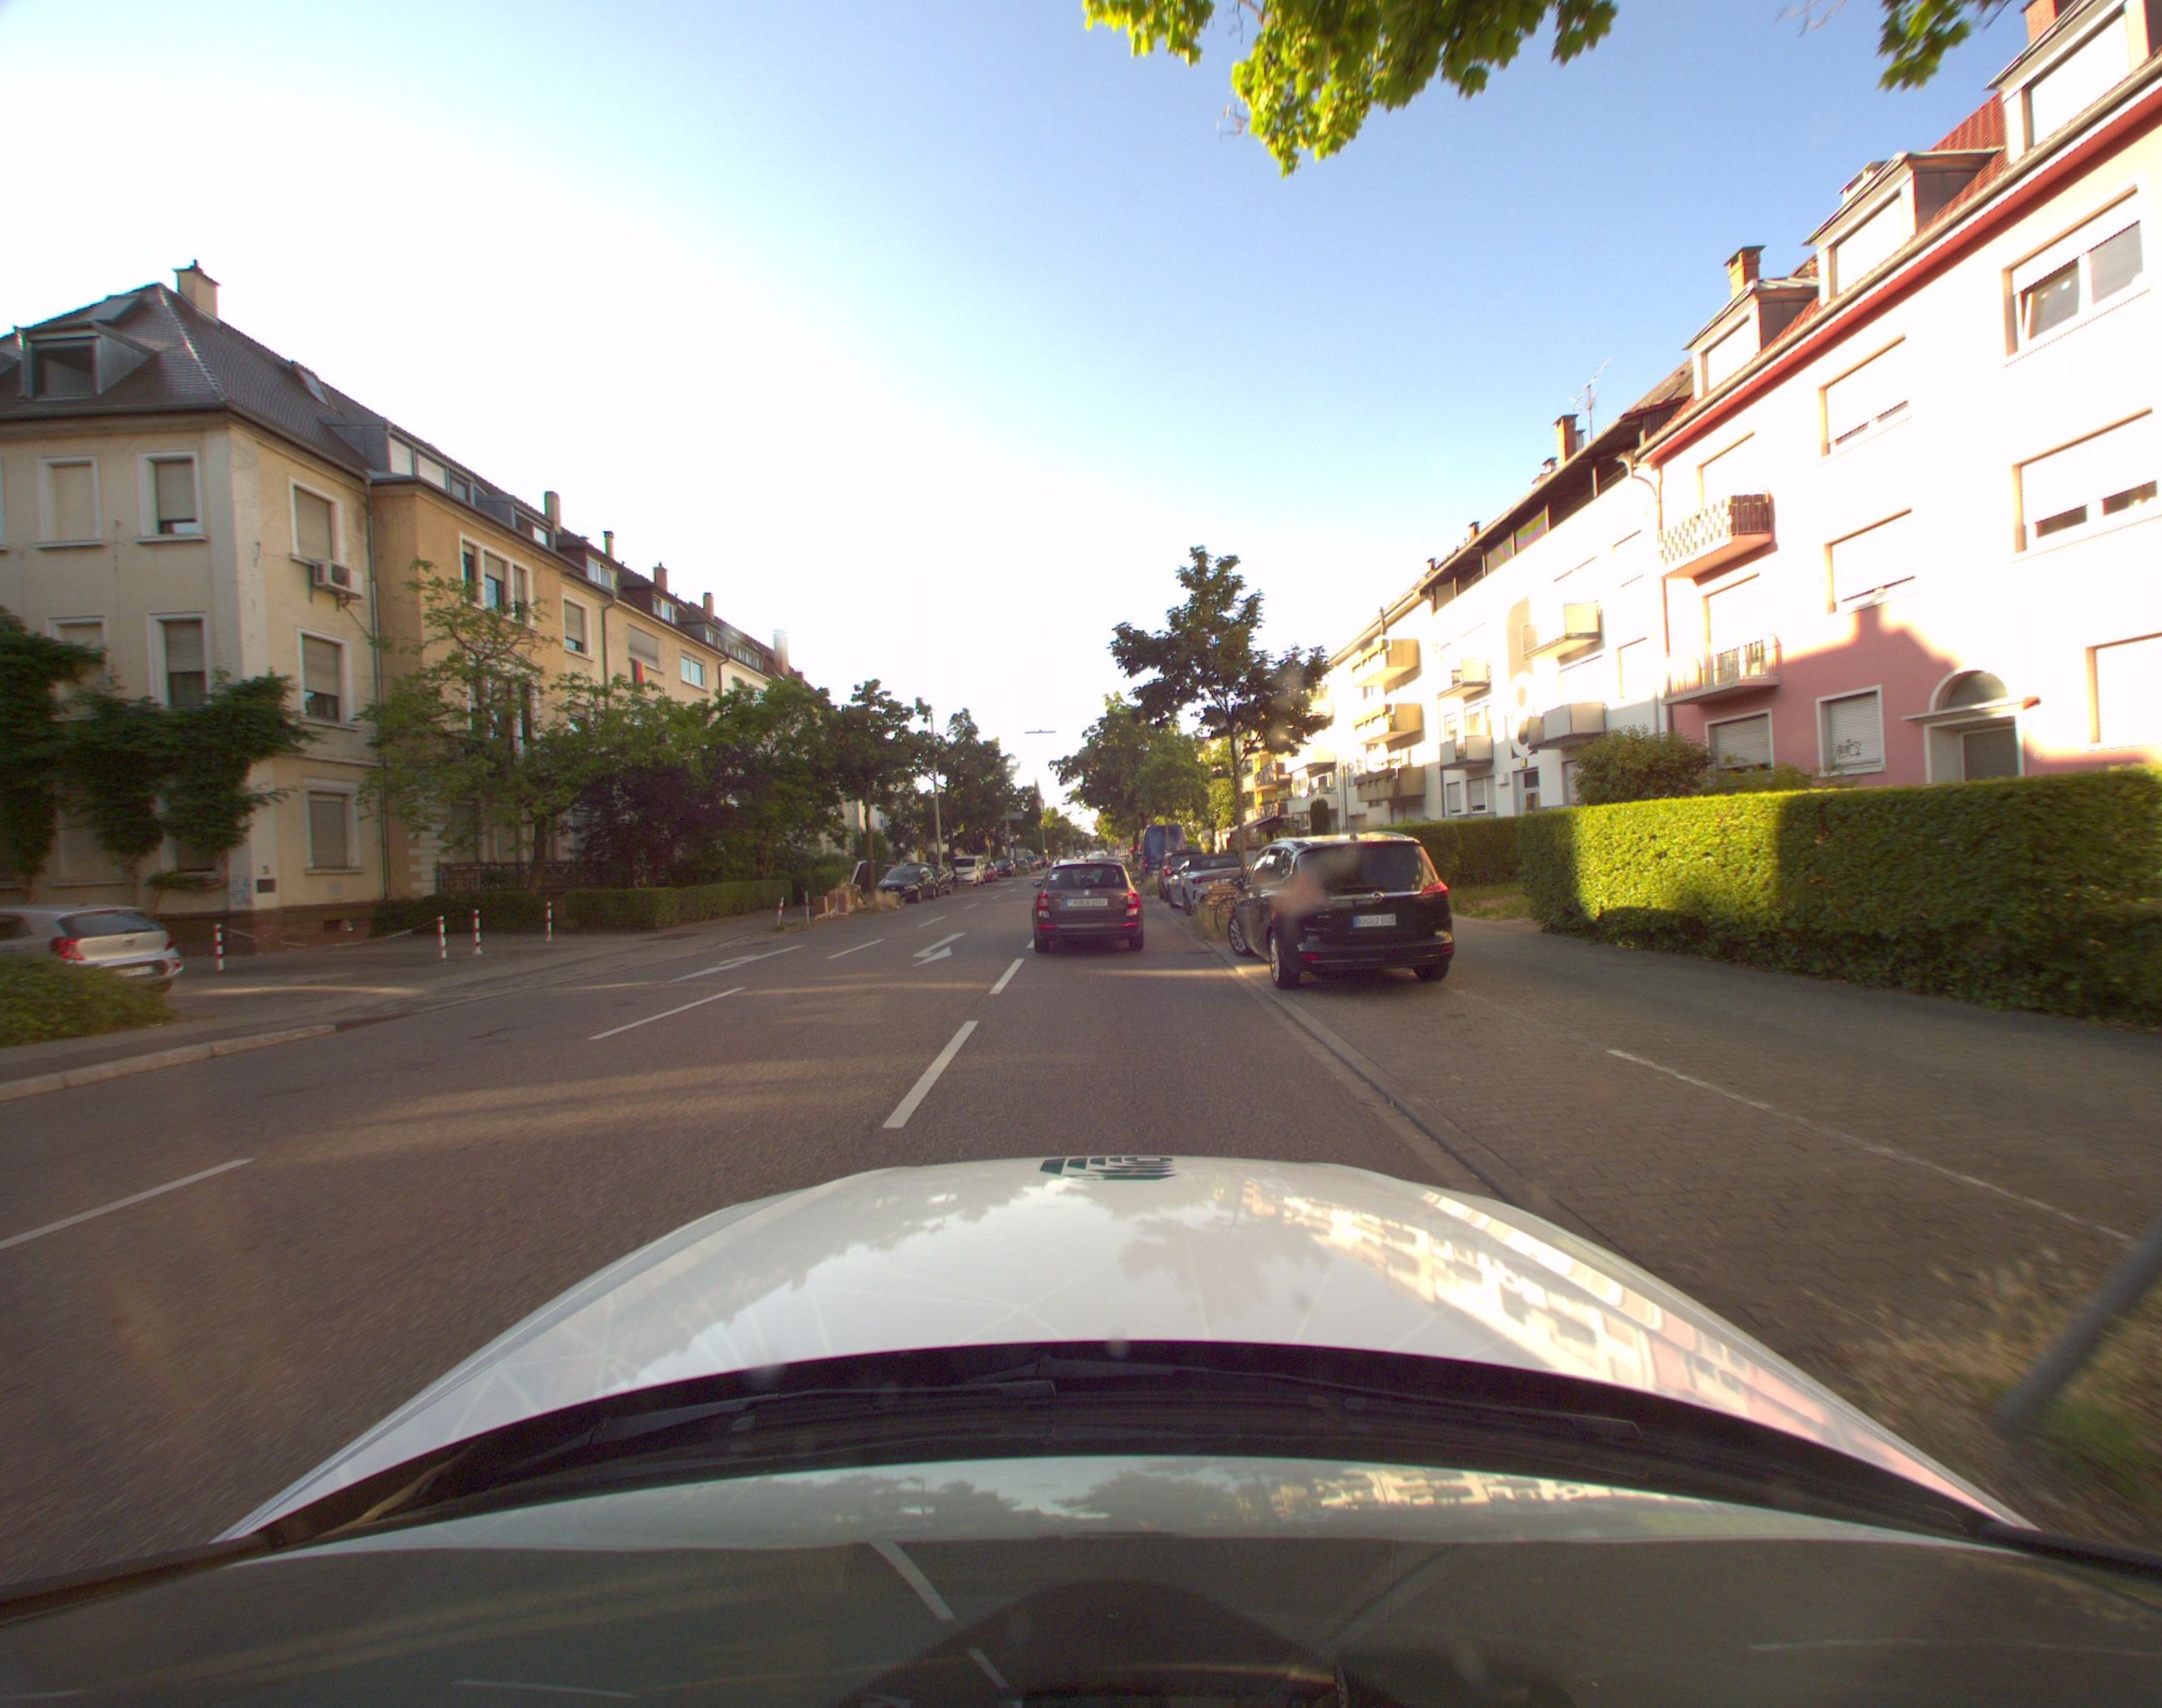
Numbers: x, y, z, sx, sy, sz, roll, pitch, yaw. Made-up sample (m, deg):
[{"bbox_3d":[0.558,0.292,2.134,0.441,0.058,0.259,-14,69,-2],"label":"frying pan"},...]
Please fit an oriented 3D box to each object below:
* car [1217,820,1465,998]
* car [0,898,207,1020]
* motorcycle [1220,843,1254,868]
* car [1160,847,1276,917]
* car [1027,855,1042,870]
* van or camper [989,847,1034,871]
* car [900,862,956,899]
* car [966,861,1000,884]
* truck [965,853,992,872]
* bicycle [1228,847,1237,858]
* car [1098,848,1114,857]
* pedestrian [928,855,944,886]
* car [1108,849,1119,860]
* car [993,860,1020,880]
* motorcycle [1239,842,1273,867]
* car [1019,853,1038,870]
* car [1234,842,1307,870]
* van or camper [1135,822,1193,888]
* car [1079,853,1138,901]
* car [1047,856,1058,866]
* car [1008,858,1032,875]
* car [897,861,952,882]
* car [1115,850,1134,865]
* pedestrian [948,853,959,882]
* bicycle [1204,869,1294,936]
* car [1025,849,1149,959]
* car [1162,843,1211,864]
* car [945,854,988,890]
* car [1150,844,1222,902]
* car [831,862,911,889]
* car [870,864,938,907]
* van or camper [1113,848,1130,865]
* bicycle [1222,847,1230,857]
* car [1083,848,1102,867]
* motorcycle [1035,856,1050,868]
[{"bbox_3d":[2.889,0.514,10.075,1.726,1.651,4.292,-3,0,1],"label":"car"},{"bbox_3d":[-15.356,1.512,11.680,3.489,1.486,1.814,-3,0,-3],"label":"car"},{"bbox_3d":[10.857,0.094,56.778,2.182,1.621,0.733,-3,0,7],"label":"motorcycle"},{"bbox_3d":[3.304,0.608,20.569,1.915,1.486,4.742,-3,0,-2],"label":"car"},{"bbox_3d":[-5.541,0.992,97.453,1.501,1.757,3.694,-3,0,1],"label":"car"},{"bbox_3d":[-12.186,0.916,144.066,7.618,3.874,1.999,-3,0,-1],"label":"van or camper"},{"bbox_3d":[-7.155,1.187,38.419,1.744,1.502,3.979,-3,0,1],"label":"car"},{"bbox_3d":[-6.705,1.246,56.043,1.711,1.421,3.787,-3,0,1],"label":"car"},{"bbox_3d":[-11.852,0.990,94.302,2.904,2.093,1.546,-3,0,0],"label":"truck"},{"bbox_3d":[13.333,-0.099,71.707,0.341,0.950,1.579,-5,0,-4],"label":"bicycle"},{"bbox_3d":[5.762,-0.334,186.136,1.859,1.757,4.204,-3,0,27],"label":"car"},{"bbox_3d":[-9.697,1.117,54.520,0.764,2.013,0.976,-3,0,0],"label":"pedestrian"},{"bbox_3d":[5.640,0.037,142.443,1.724,1.815,3.950,-3,0,0],"label":"car"},{"bbox_3d":[-6.191,1.334,68.184,1.711,1.497,4.249,-3,0,1],"label":"car"},{"bbox_3d":[11.997,0.045,55.842,2.182,1.621,0.892,-3,0,7],"label":"motorcycle"},{"bbox_3d":[-5.929,0.852,92.789,1.744,1.740,3.592,-3,0,1],"label":"car"},{"bbox_3d":[11.577,0.108,49.875,3.977,1.462,1.823,-3,0,-3],"label":"car"},{"bbox_3d":[3.662,0.055,37.094,2.060,2.675,5.991,-3,-1,1],"label":"van or camper"},{"bbox_3d":[0.903,0.747,28.788,1.725,1.493,3.947,-3,0,-2],"label":"car"},{"bbox_3d":[-4.721,1.179,134.917,1.658,1.432,3.276,-3,0,1],"label":"car"},{"bbox_3d":[-5.920,1.201,79.601,1.747,1.420,4.427,-3,0,2],"label":"car"},{"bbox_3d":[-12.550,1.369,65.497,3.977,1.479,1.998,-2,0,-3],"label":"car"},{"bbox_3d":[4.417,0.322,82.749,1.813,1.413,4.115,-3,0,3],"label":"car"},{"bbox_3d":[-9.262,0.986,59.096,0.624,2.013,0.616,-3,0,0],"label":"pedestrian"},{"bbox_3d":[2.940,0.843,14.277,1.478,1.059,0.410,-3,0,-12],"label":"bicycle"},{"bbox_3d":[0.180,0.714,13.778,1.722,1.493,3.954,-3,0,3],"label":"car"},{"bbox_3d":[10.680,-0.036,82.631,4.558,1.892,1.898,-3,0,-27],"label":"car"},{"bbox_3d":[-6.811,1.023,48.999,1.763,1.919,4.461,-3,0,1],"label":"car"},{"bbox_3d":[3.339,0.589,26.486,1.767,1.642,3.756,-3,-1,-1],"label":"car"},{"bbox_3d":[-13.087,1.342,51.113,4.714,1.362,1.992,-3,0,-12],"label":"car"},{"bbox_3d":[-7.188,1.228,33.472,1.744,1.502,4.198,-3,0,1],"label":"car"},{"bbox_3d":[5.314,0.288,106.647,1.986,2.013,4.001,-3,0,1],"label":"van or camper"},{"bbox_3d":[12.850,-0.167,72.328,0.341,0.950,1.579,0,0,-4],"label":"bicycle"},{"bbox_3d":[1.092,0.336,77.117,1.726,1.651,3.542,-3,0,1],"label":"car"},{"bbox_3d":[-5.104,1.110,107.811,0.771,1.511,2.006,-3,0,-41],"label":"motorcycle"}]
